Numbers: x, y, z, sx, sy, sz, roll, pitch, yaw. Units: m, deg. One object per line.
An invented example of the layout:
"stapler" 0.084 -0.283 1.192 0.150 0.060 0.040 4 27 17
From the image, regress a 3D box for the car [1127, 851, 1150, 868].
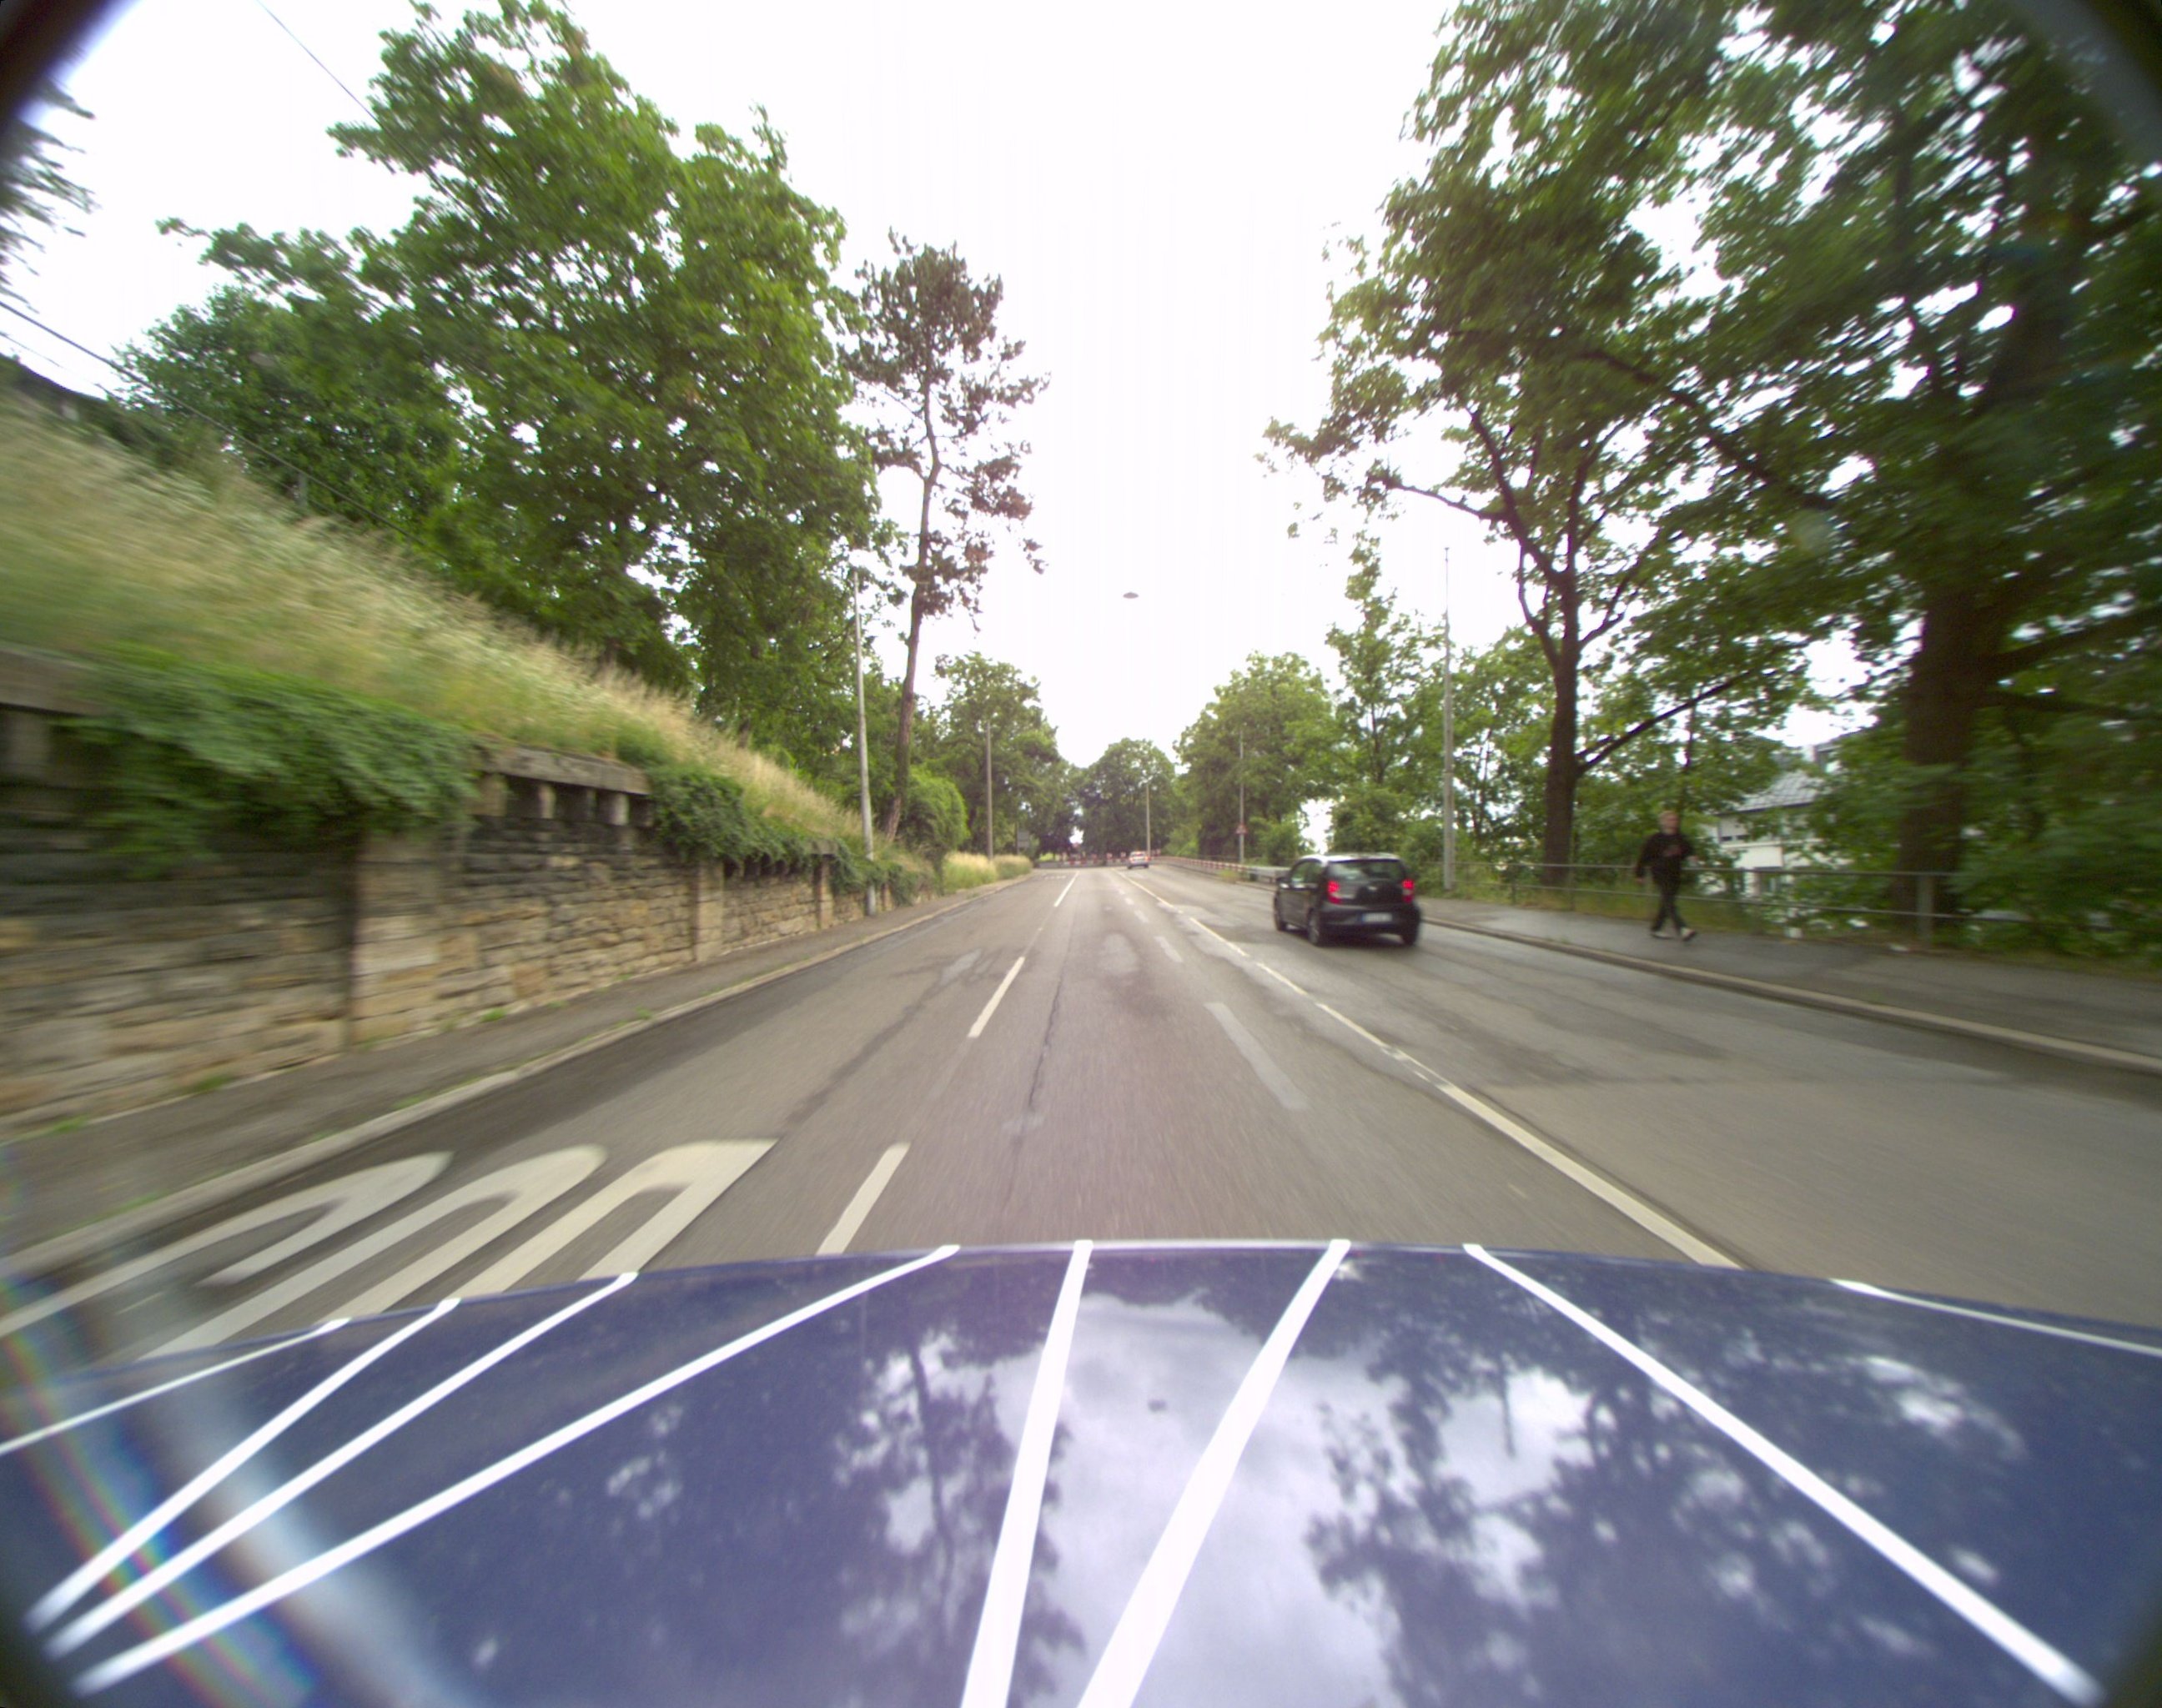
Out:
"car" 5.166 0.477 69.034 1.799 1.419 4.143 -2 0 1

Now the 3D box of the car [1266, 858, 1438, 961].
"car" 4.429 0.832 13.001 1.673 1.439 3.688 -1 0 1

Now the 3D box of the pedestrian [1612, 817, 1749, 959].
"pedestrian" 8.134 0.438 10.375 0.790 1.764 1.209 -5 0 -2
